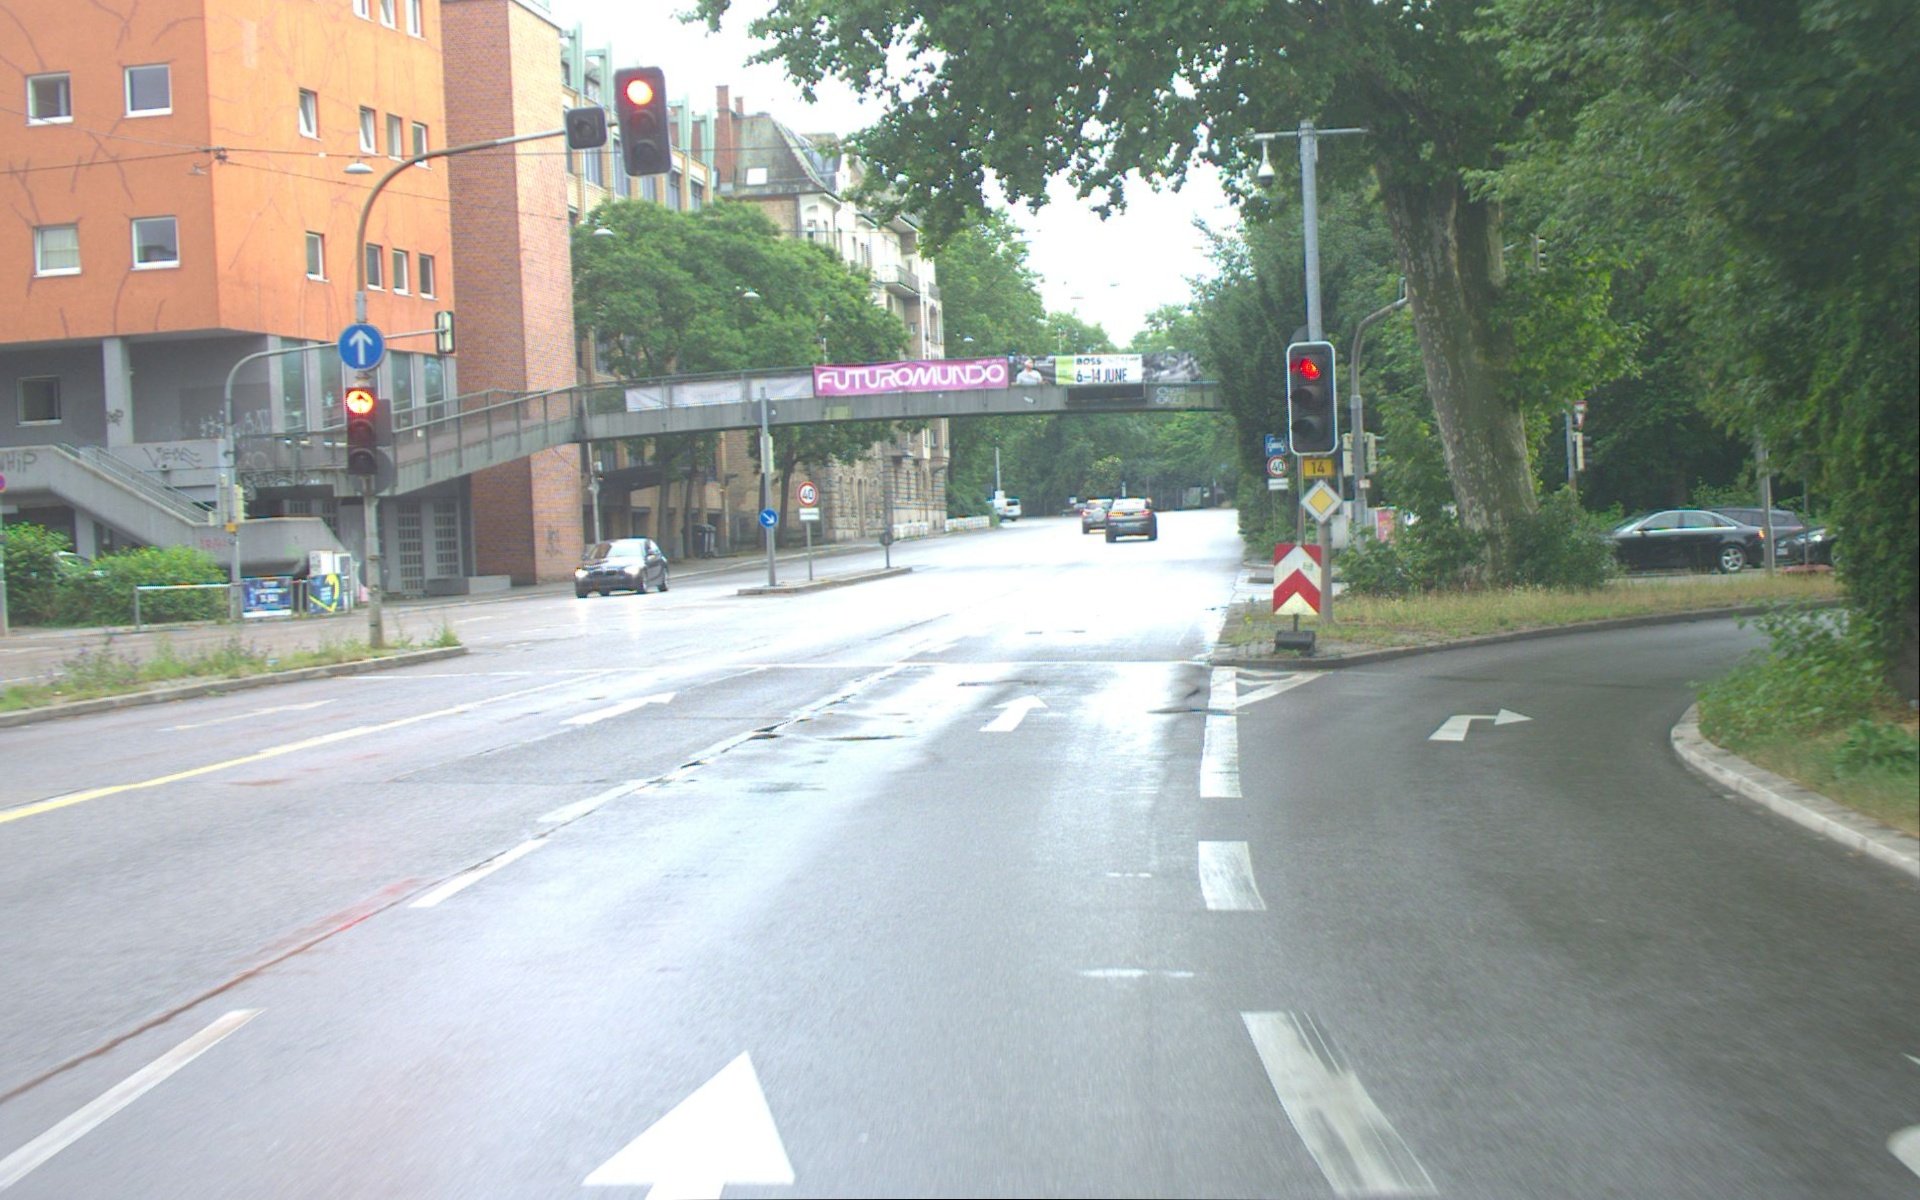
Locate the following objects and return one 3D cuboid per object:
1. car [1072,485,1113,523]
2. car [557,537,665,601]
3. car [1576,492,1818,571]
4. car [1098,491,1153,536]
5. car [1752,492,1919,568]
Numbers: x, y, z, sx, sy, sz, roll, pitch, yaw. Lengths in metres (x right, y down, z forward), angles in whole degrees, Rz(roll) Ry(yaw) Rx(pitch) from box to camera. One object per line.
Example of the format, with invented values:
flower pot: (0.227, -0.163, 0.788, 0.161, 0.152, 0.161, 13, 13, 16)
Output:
car: (6.440, -4.658, 166.398, 1.763, 1.691, 3.705, -4, 1, 4)
car: (-8.792, -0.799, 86.832, 1.994, 1.514, 4.000, -2, 1, 4)
car: (15.440, -1.439, 72.119, 4.603, 1.446, 1.774, -2, 1, -3)
car: (6.696, -3.526, 139.483, 2.121, 1.729, 4.199, -1, 2, 1)
car: (18.627, -1.447, 70.988, 3.986, 1.481, 1.879, -2, 1, -16)
